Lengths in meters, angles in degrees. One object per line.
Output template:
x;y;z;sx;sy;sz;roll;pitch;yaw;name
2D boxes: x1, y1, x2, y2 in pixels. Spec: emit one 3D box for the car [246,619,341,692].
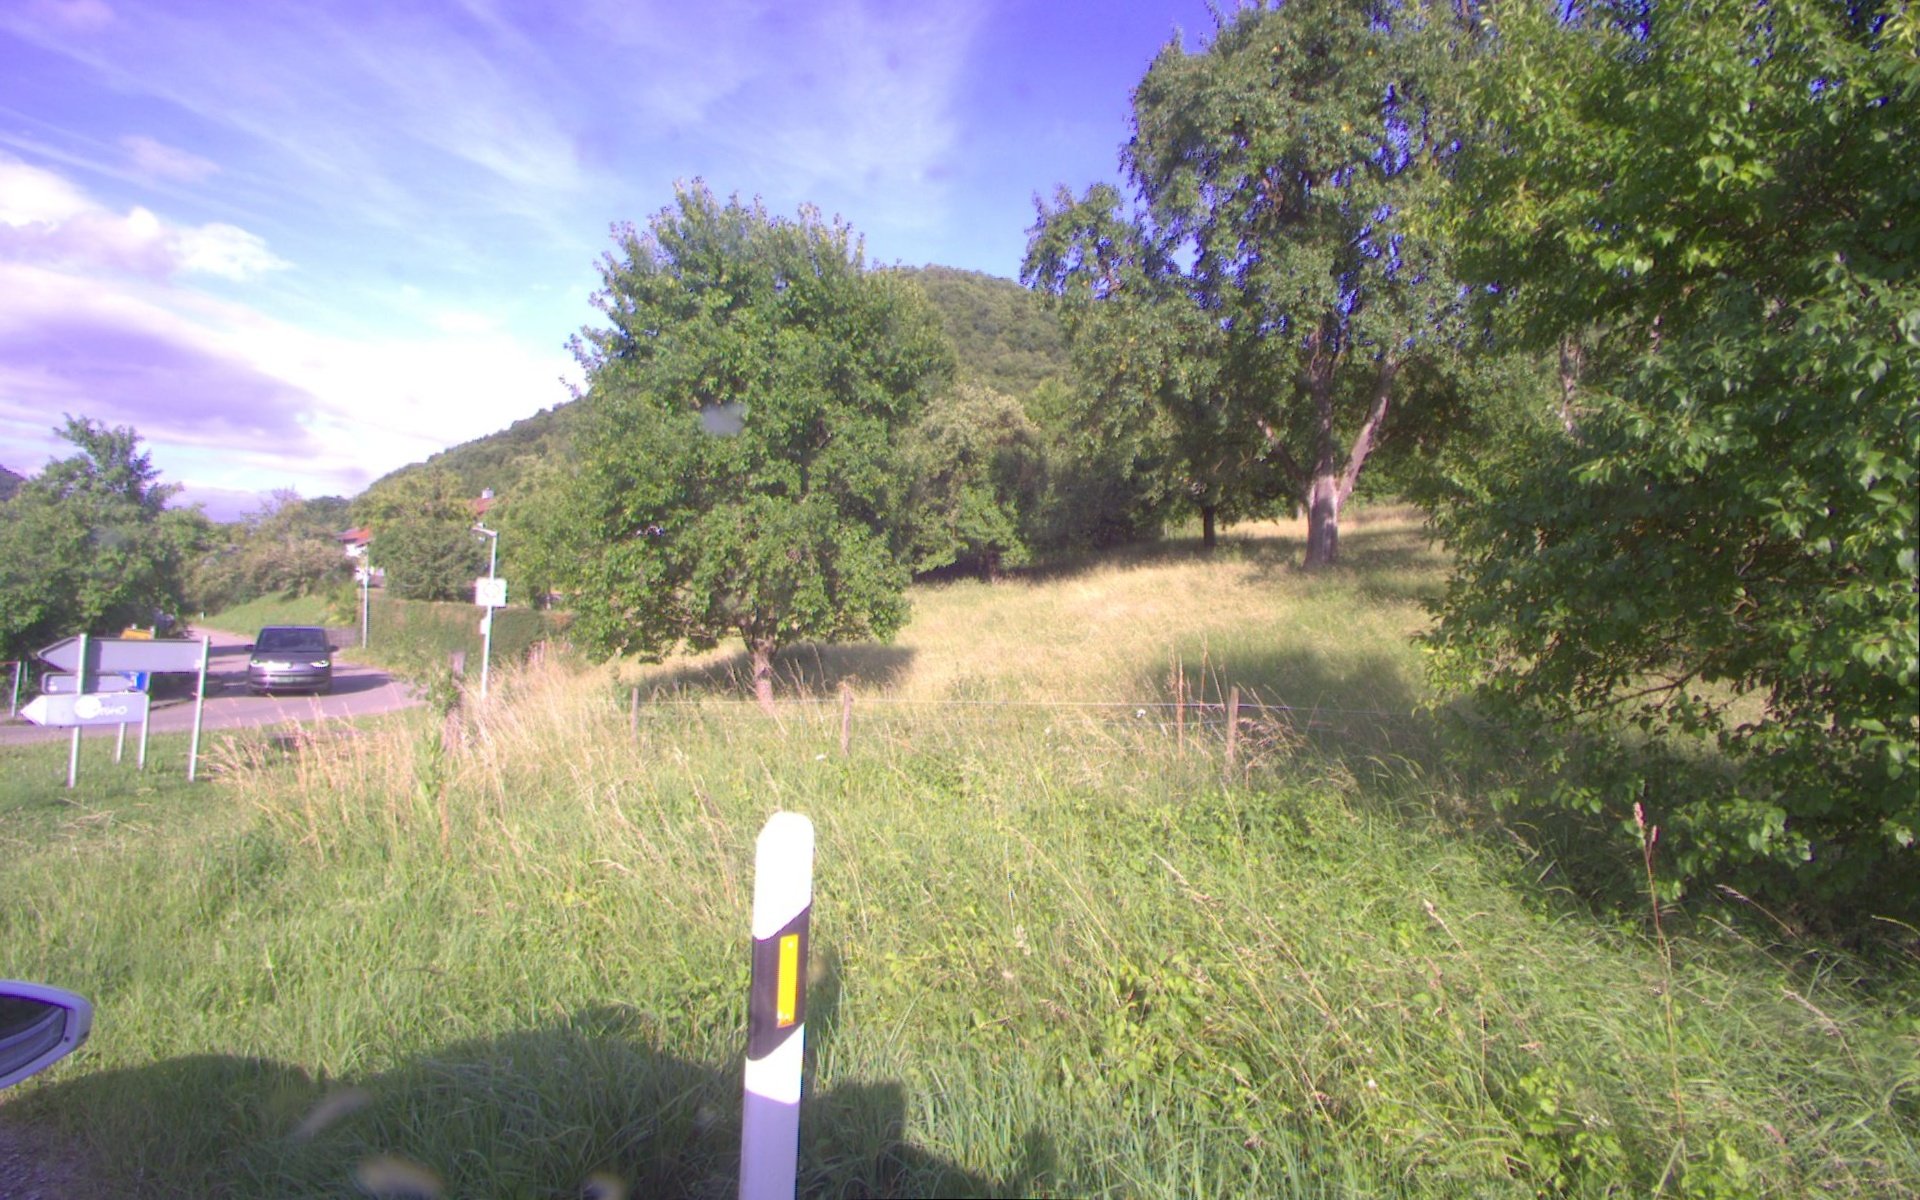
-19.178;1.556;28.700;1.977;1.900;4.836;4;-3;-36;car
